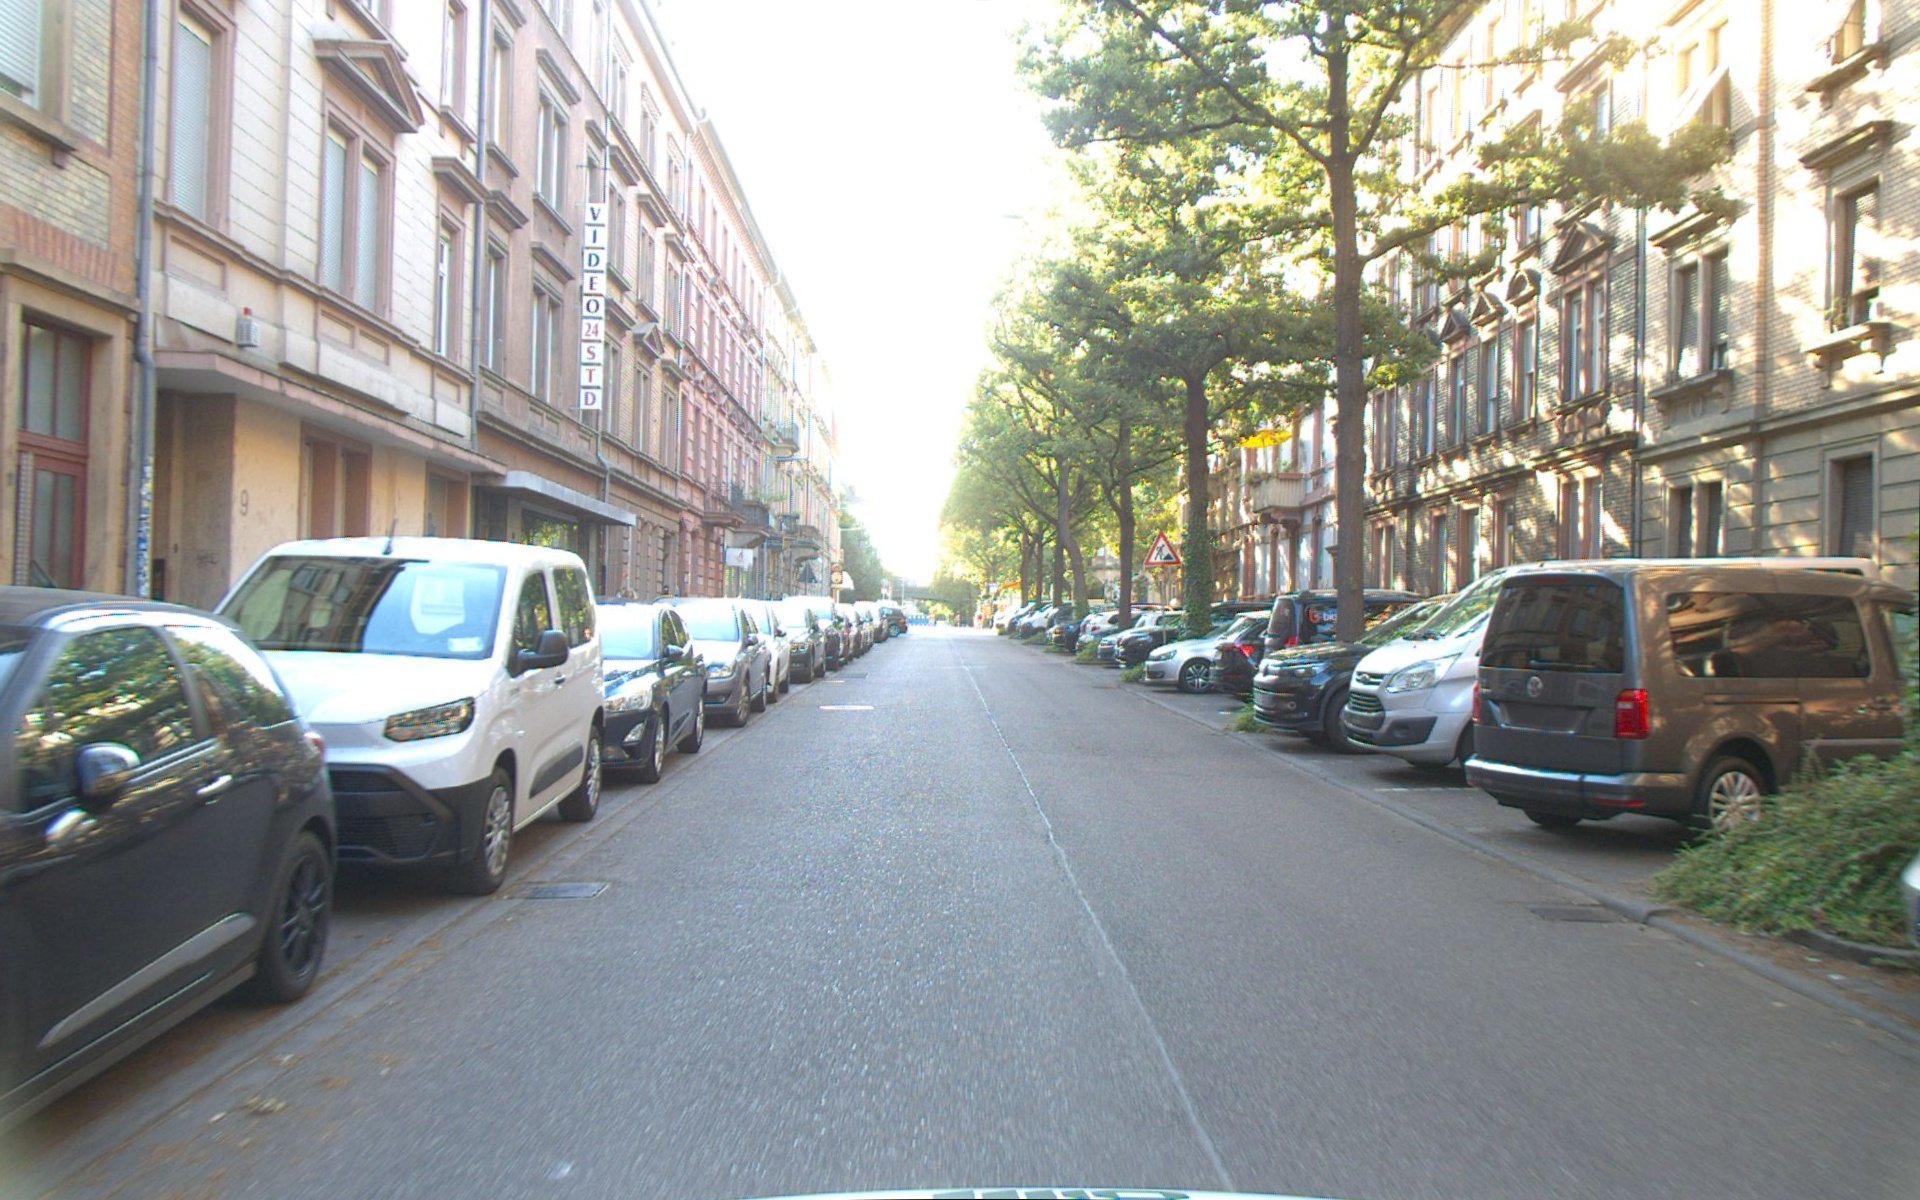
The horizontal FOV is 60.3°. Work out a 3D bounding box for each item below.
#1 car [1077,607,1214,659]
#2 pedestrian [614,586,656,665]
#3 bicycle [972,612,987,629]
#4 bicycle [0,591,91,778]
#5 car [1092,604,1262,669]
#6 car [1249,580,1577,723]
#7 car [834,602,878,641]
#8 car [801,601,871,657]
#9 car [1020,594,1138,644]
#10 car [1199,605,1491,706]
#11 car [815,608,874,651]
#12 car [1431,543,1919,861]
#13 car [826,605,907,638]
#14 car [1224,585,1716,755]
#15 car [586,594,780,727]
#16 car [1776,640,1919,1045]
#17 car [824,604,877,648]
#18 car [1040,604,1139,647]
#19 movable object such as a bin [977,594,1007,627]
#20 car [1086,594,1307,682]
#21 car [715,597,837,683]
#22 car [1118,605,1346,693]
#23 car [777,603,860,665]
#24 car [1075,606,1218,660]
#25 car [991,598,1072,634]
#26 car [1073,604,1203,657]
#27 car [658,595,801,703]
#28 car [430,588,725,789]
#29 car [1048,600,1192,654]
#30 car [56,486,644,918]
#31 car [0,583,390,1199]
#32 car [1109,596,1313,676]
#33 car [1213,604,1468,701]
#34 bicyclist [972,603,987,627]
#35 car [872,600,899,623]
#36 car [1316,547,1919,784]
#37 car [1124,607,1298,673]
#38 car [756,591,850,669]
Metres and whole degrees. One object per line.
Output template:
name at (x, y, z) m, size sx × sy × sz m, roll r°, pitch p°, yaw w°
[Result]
car at (5.668, 1.007, 50.730) m, size 3.908 × 1.488 × 1.781 m, roll 1°, pitch 0°, yaw -4°
pedestrian at (-6.933, 0.539, 35.334) m, size 0.681 × 1.660 × 1.018 m, roll 1°, pitch -1°, yaw -2°
bicycle at (1.212, 1.284, 103.395) m, size 0.787 × 0.985 × 2.108 m, roll 2°, pitch -1°, yaw -1°
bicycle at (-7.077, 0.592, 11.825) m, size 0.616 × 1.303 × 2.665 m, roll 2°, pitch 0°, yaw -8°
car at (5.683, 0.950, 43.638) m, size 4.139 × 1.563 × 1.800 m, roll 2°, pitch 0°, yaw -4°
car at (6.213, 0.694, 23.055) m, size 4.040 × 1.820 × 1.945 m, roll 1°, pitch 0°, yaw 1°
car at (-4.146, 0.861, 66.428) m, size 1.550 × 1.499 × 3.999 m, roll 1°, pitch 0°, yaw -1°
car at (-3.686, 0.844, 49.769) m, size 1.784 × 1.503 × 4.422 m, roll 3°, pitch 0°, yaw -1°
car at (5.218, 0.836, 73.017) m, size 4.988 × 1.974 × 2.157 m, roll 1°, pitch -4°, yaw -1°
car at (5.903, 0.832, 25.700) m, size 4.061 × 1.480 × 1.936 m, roll -1°, pitch 0°, yaw -2°
car at (-3.775, 0.953, 54.642) m, size 1.670 × 1.346 × 4.100 m, roll 1°, pitch 0°, yaw -1°
car at (5.814, 0.606, 11.786) m, size 4.599 × 1.923 × 1.895 m, roll 0°, pitch 0°, yaw -23°
car at (-4.633, 1.042, 81.964) m, size 3.911 × 1.556 × 1.823 m, roll 1°, pitch -1°, yaw -7°
car at (5.589, 0.729, 18.530) m, size 4.823 × 1.661 × 2.076 m, roll -1°, pitch 0°, yaw -5°
car at (-3.394, 0.698, 21.064) m, size 1.848 × 1.469 × 4.540 m, roll 2°, pitch 0°, yaw -2°
car at (5.549, 0.841, 5.863) m, size 4.366 × 1.392 × 1.903 m, roll -1°, pitch 0°, yaw 0°
car at (-3.888, 0.911, 59.319) m, size 1.670 × 1.464 × 3.958 m, roll 1°, pitch 0°, yaw -1°
car at (5.333, 1.031, 68.435) m, size 3.809 × 1.678 × 1.722 m, roll 1°, pitch 0°, yaw -6°
movable object such as a bin at (2.761, 0.954, 143.429) m, size 1.951 × 2.747 × 3.112 m, roll 1°, pitch -1°, yaw 12°
car at (4.927, 0.803, 34.845) m, size 4.384 × 1.685 × 1.891 m, roll 1°, pitch -2°, yaw 1°
car at (-3.491, 0.729, 32.080) m, size 1.824 × 1.498 × 4.488 m, roll 1°, pitch 0°, yaw 0°
car at (4.954, 0.889, 30.514) m, size 3.905 × 1.482 × 1.687 m, roll 1°, pitch 0°, yaw 0°
car at (-3.638, 0.842, 43.127) m, size 1.784 × 1.450 × 4.312 m, roll 3°, pitch 0°, yaw -1°
car at (5.374, 0.948, 48.014) m, size 3.906 × 1.412 × 1.677 m, roll -2°, pitch 0°, yaw -2°
car at (4.447, 1.013, 103.275) m, size 4.872 × 2.133 × 2.105 m, roll 1°, pitch -1°, yaw -1°
car at (5.724, 0.988, 53.328) m, size 3.908 × 1.618 × 1.781 m, roll 1°, pitch 0°, yaw -4°
car at (-3.472, 0.702, 25.539) m, size 1.721 × 1.498 × 4.086 m, roll 1°, pitch 0°, yaw -2°
car at (-3.224, 0.685, 14.764) m, size 1.711 × 1.498 × 4.243 m, roll 1°, pitch 0°, yaw -2°
car at (5.342, 0.880, 55.625) m, size 4.553 × 1.732 × 1.880 m, roll -1°, pitch 0°, yaw -5°
car at (-3.161, 0.469, 9.698) m, size 1.805 × 1.865 × 4.605 m, roll 2°, pitch 0°, yaw -2°
car at (-3.029, 0.677, 4.663) m, size 1.604 × 1.446 × 3.823 m, roll 2°, pitch 0°, yaw -2°
car at (5.755, 0.846, 38.290) m, size 4.386 × 1.685 × 1.890 m, roll 2°, pitch -2°, yaw -2°
car at (6.435, 0.880, 28.210) m, size 3.908 × 1.521 × 1.686 m, roll 1°, pitch 0°, yaw -4°
bicyclist at (1.221, 0.939, 103.400) m, size 0.787 × 1.407 × 0.985 m, roll 2°, pitch -1°, yaw -2°
car at (-4.965, 0.757, 110.086) m, size 1.729 × 1.462 × 4.298 m, roll 2°, pitch 0°, yaw -2°
car at (6.043, 0.562, 15.562) m, size 4.823 × 1.935 × 2.174 m, roll -1°, pitch 0°, yaw -5°
car at (6.168, 0.980, 40.981) m, size 4.016 × 1.495 × 1.801 m, roll 2°, pitch 0°, yaw 0°
car at (-3.616, 0.674, 38.710) m, size 1.784 × 1.628 × 4.312 m, roll 3°, pitch 0°, yaw -1°
